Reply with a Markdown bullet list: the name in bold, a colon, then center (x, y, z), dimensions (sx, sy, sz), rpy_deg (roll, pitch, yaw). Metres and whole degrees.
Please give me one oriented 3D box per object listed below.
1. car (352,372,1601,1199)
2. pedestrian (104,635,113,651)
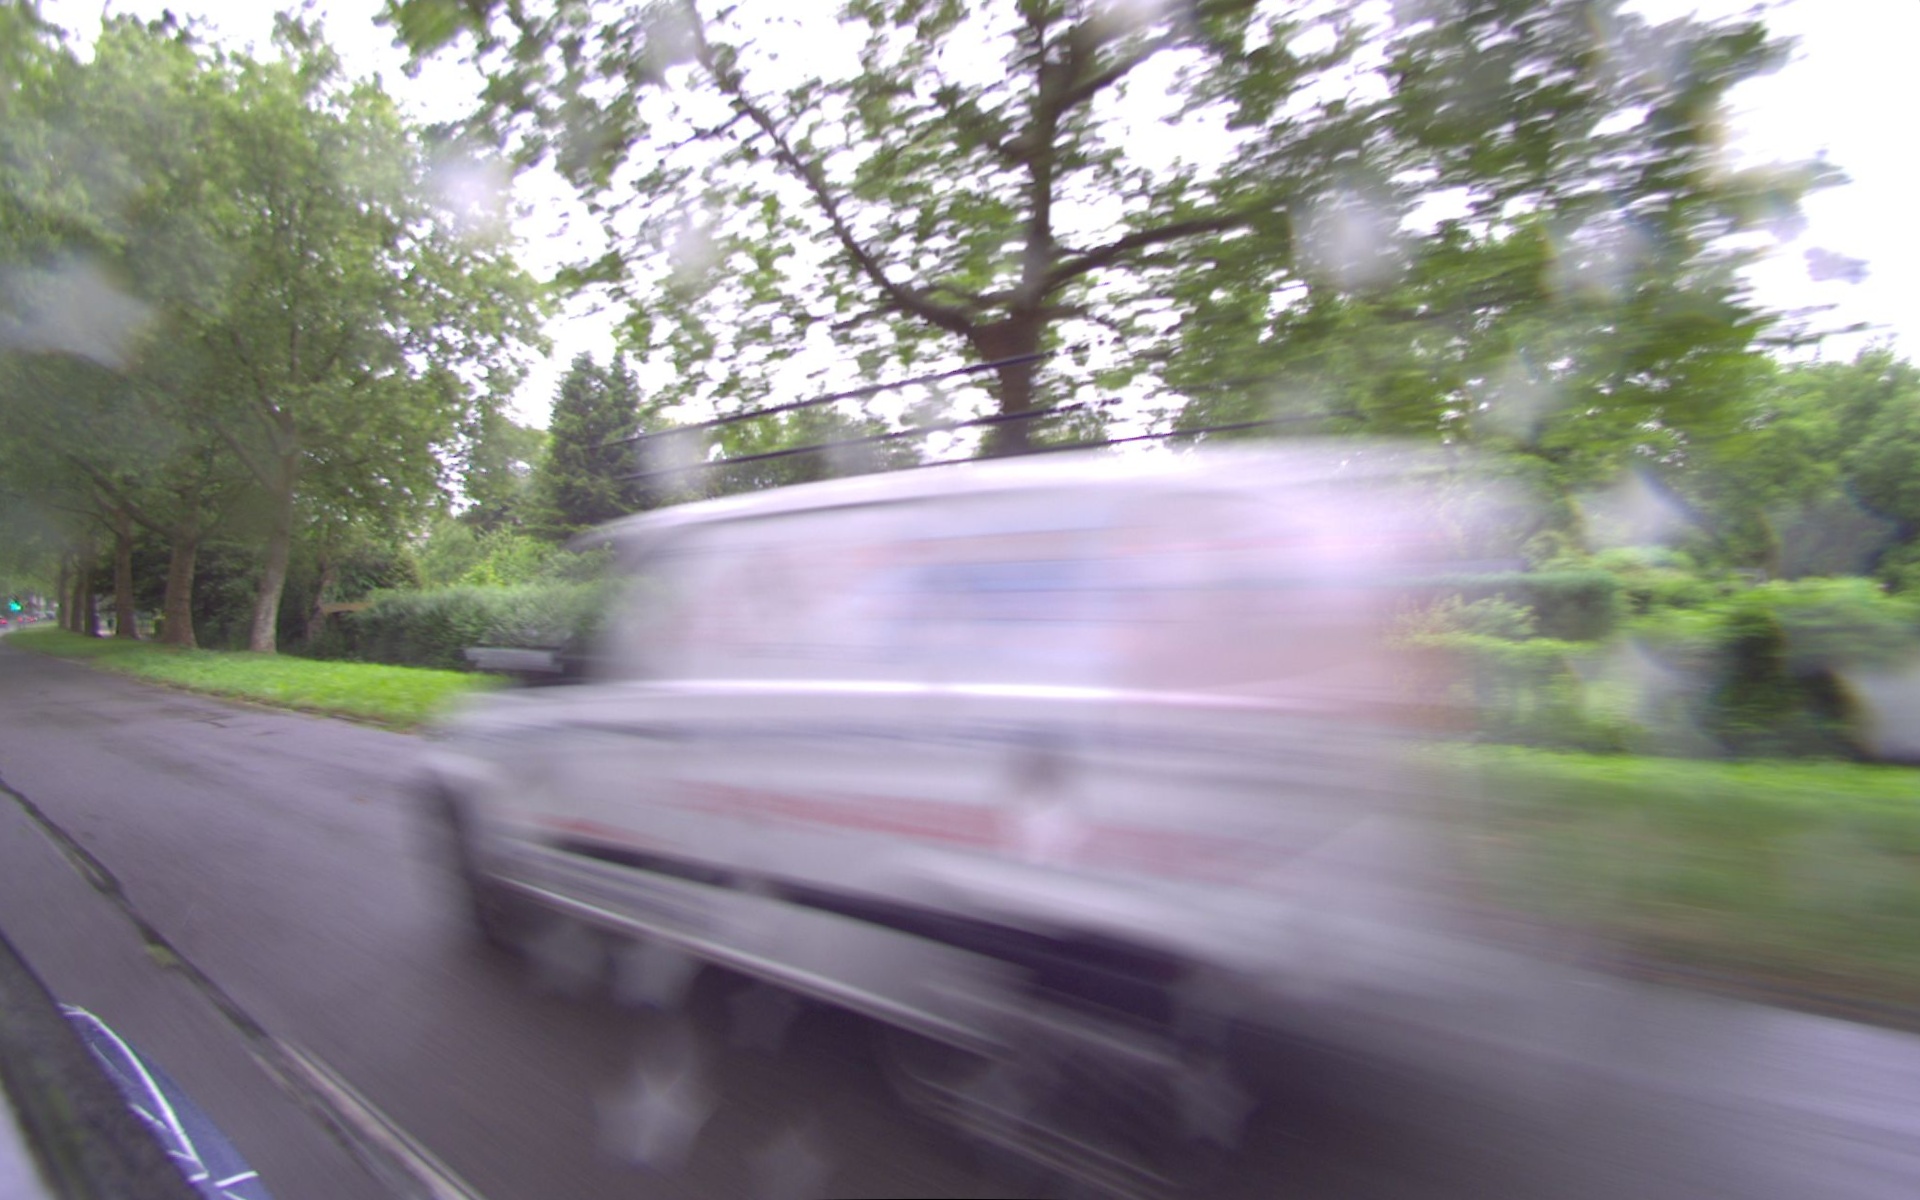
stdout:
- **car**: center (-0.499, 0.540, 4.088), dimensions (5.012, 1.763, 1.844), rpy_deg (-1, -2, 40)
- **pedestrian**: center (-70.574, 3.584, 83.889), dimensions (0.510, 1.271, 0.850), rpy_deg (-1, 0, -43)
